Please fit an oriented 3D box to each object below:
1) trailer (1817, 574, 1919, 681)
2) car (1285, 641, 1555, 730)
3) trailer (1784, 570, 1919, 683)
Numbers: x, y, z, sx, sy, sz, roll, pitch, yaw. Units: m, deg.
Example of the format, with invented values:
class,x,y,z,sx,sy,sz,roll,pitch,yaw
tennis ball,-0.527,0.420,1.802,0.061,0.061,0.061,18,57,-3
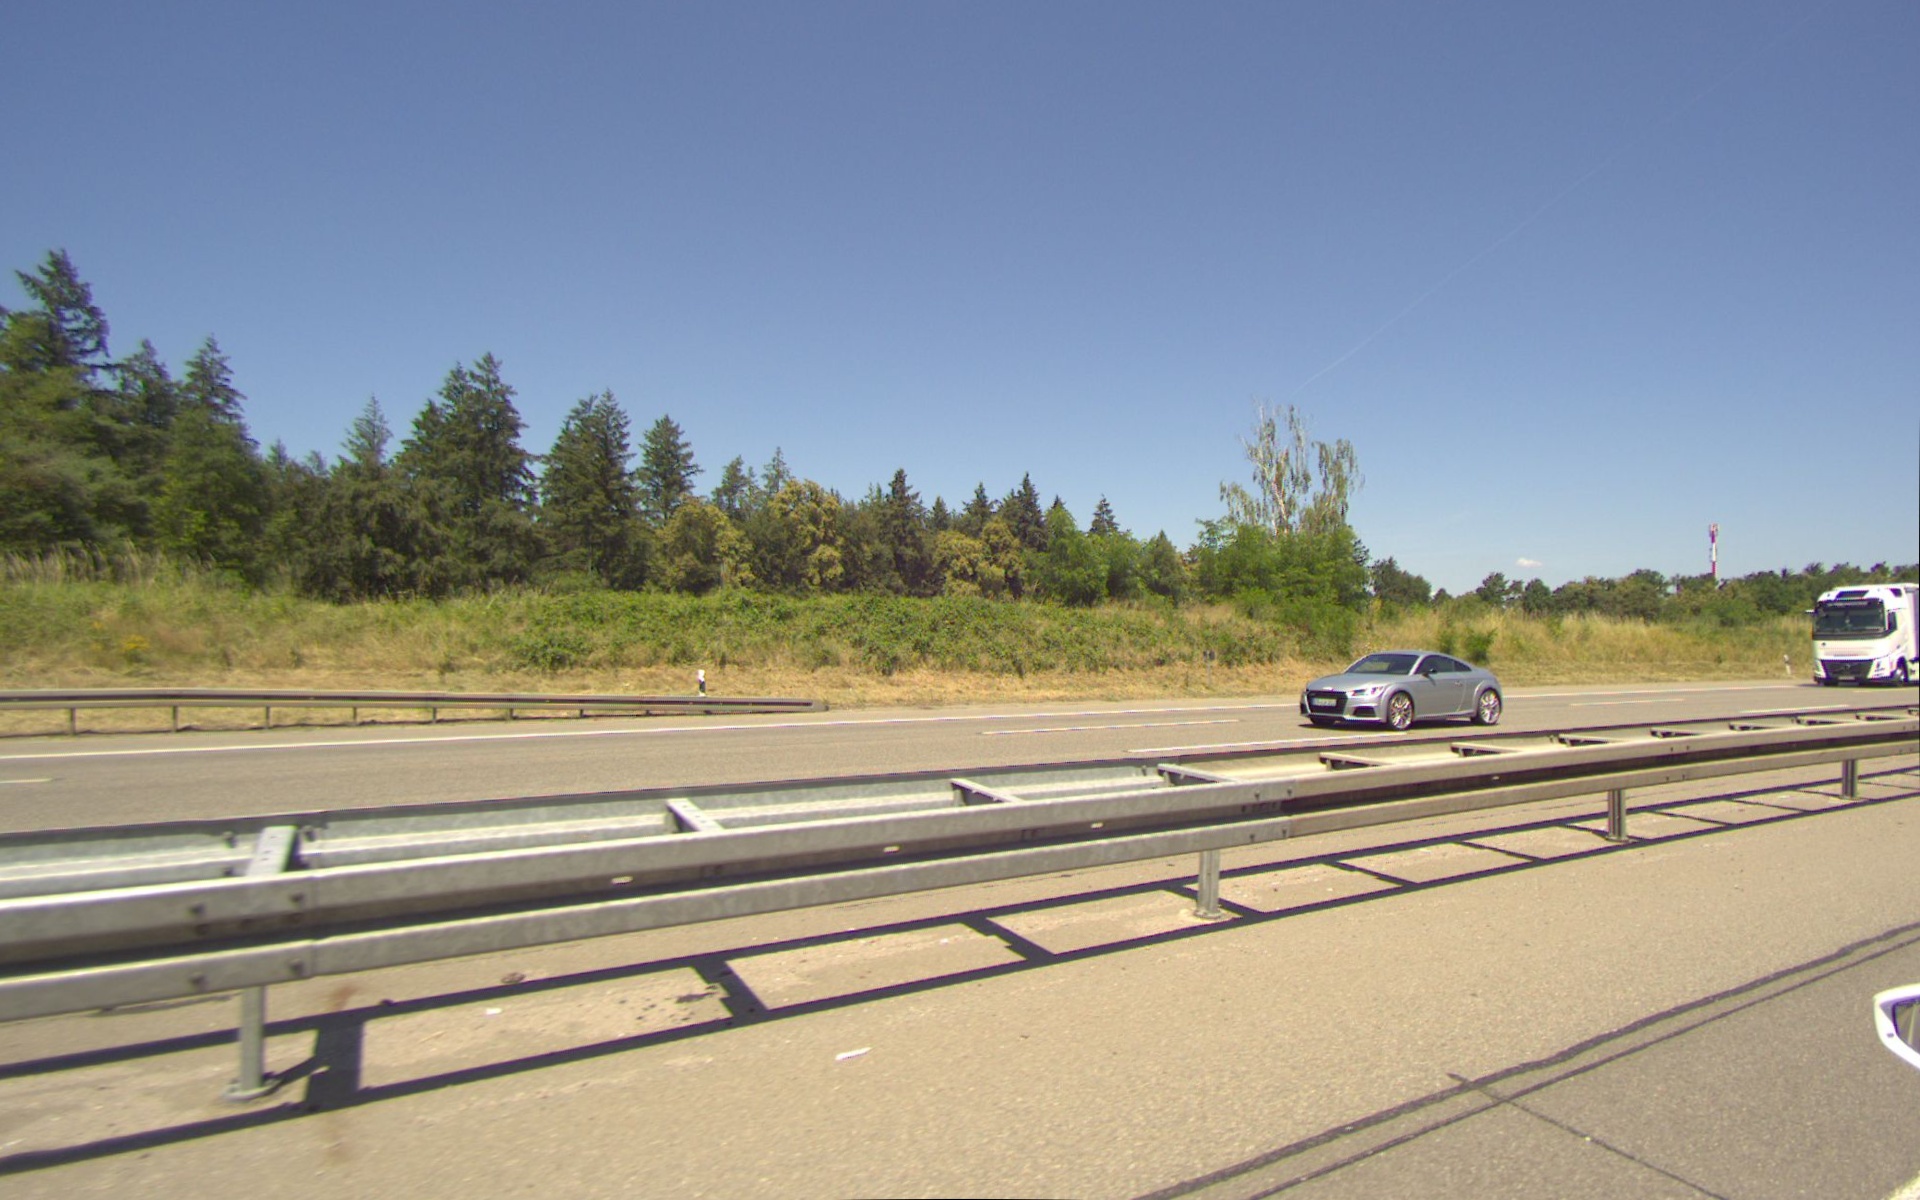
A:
class,x,y,z,sx,sy,sz,roll,pitch,yaw
trailer,43.020,1.329,44.542,13.960,4.253,3.141,2,-4,-30
car,8.584,1.504,18.607,5.229,1.447,1.952,2,-3,-31
trailer,37.000,1.163,40.974,6.251,4.253,3.141,1,-4,-30
